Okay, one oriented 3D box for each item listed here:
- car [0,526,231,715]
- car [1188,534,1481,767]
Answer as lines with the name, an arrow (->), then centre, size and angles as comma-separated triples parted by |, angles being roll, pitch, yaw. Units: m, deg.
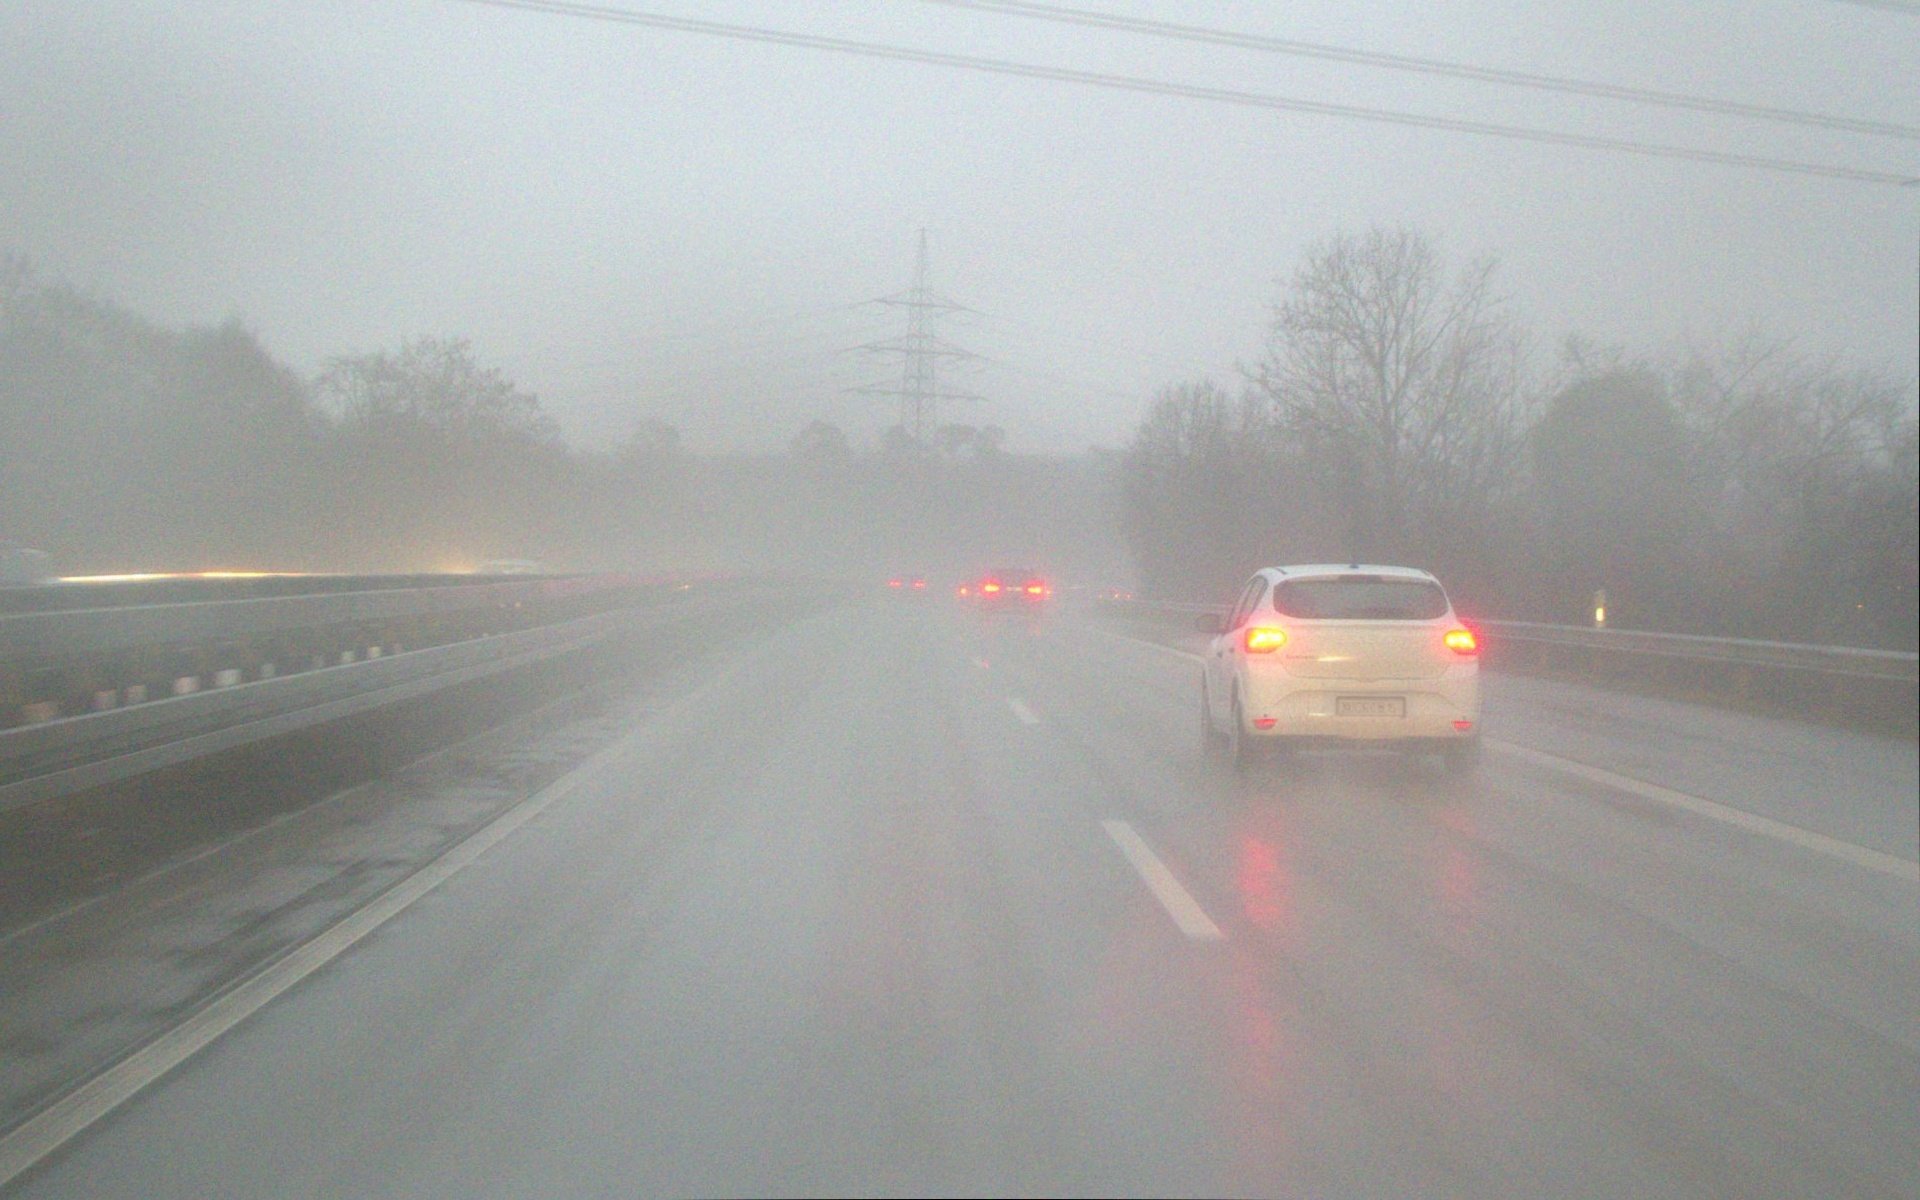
car -> -7.688, 0.130, 29.650 | 1.993, 1.504, 4.000 | 1, 1, -1
car -> 2.775, 0.330, 26.205 | 1.845, 1.630, 3.768 | 1, 1, 1
